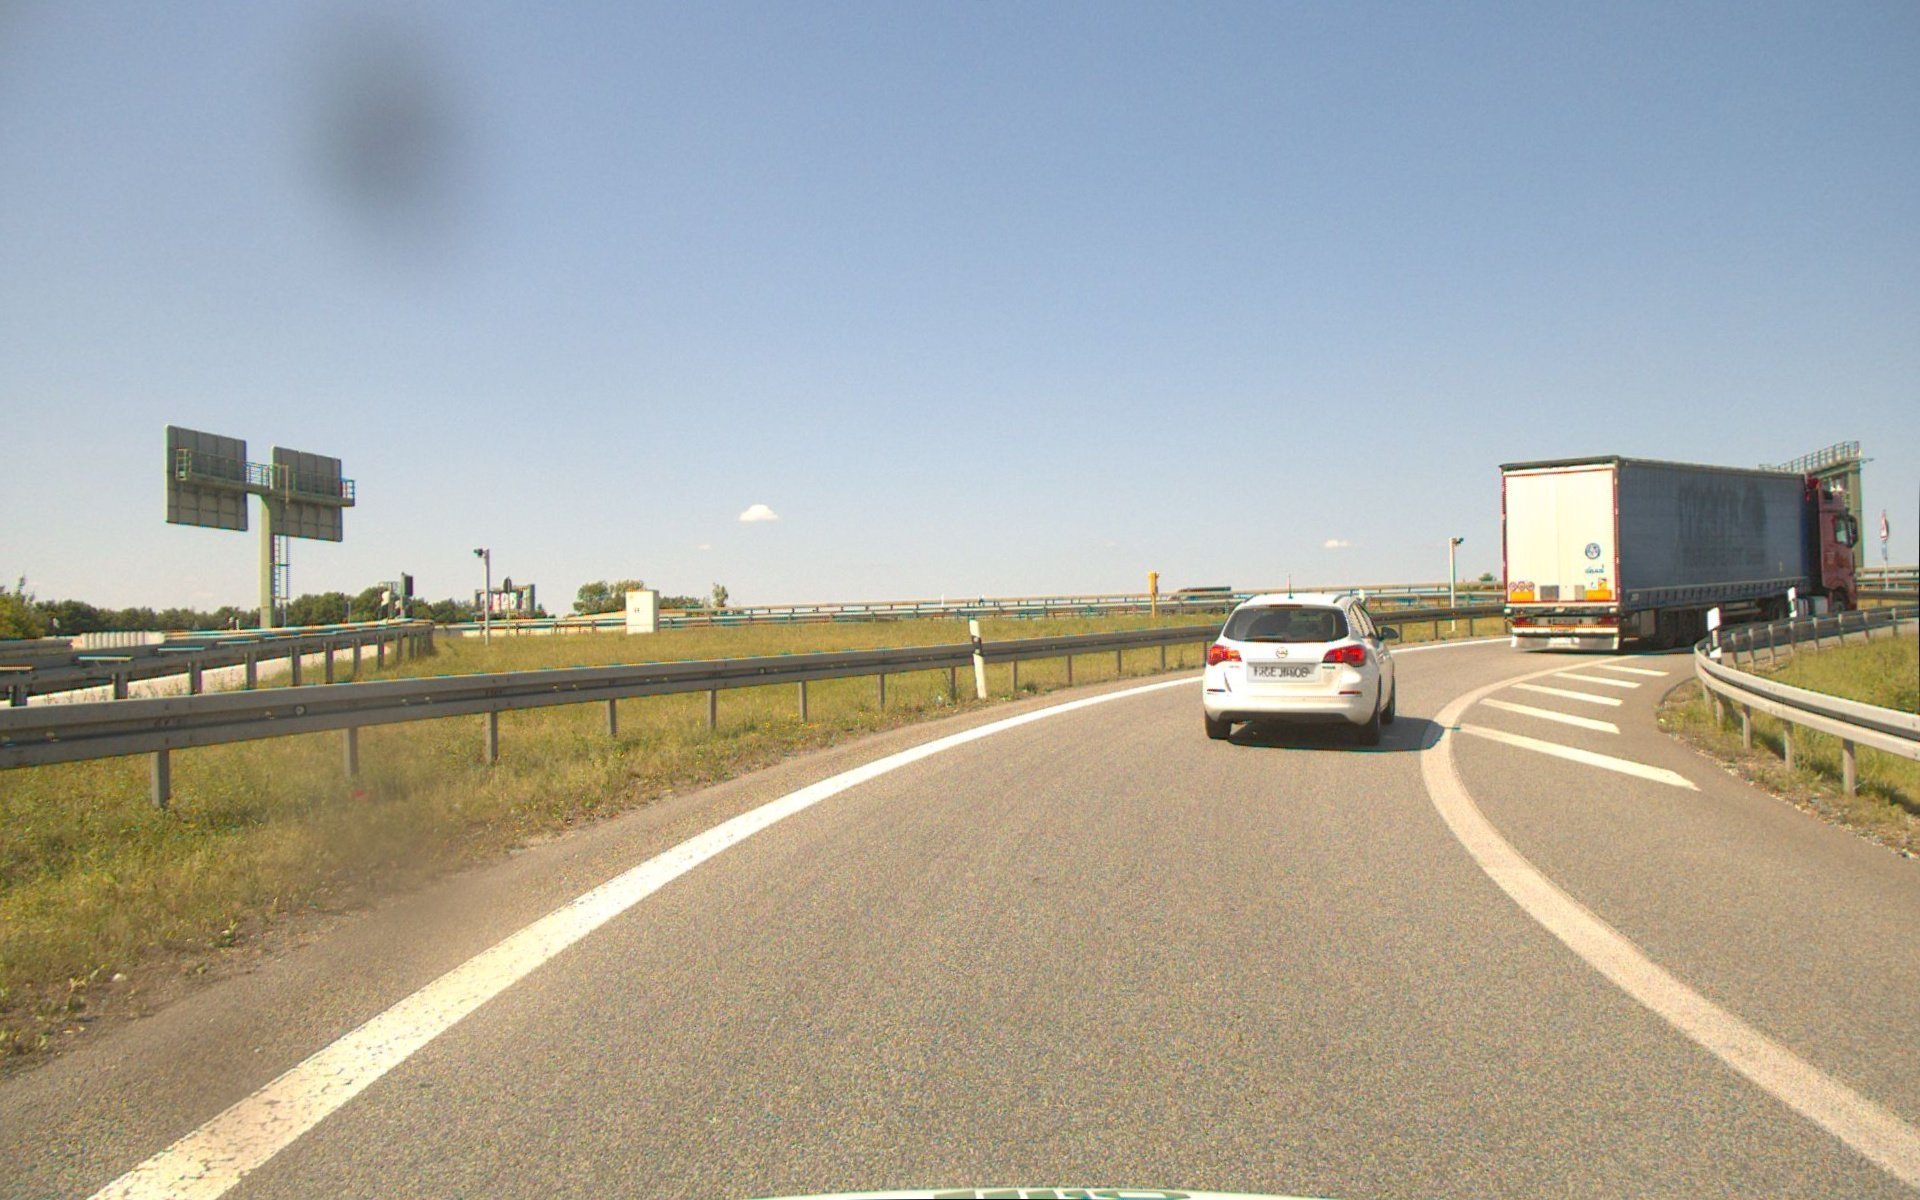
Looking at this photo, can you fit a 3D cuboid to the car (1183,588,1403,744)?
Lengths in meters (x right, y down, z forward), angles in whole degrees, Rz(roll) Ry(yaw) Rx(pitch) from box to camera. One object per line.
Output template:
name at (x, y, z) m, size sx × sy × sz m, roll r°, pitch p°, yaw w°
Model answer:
car at (3.741, 0.630, 17.996) m, size 1.815 × 1.468 × 4.374 m, roll -1°, pitch 0°, yaw 18°

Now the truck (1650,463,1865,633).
truck at (21.536, -1.331, 44.482) m, size 6.868 × 4.217 × 2.877 m, roll -1°, pitch 0°, yaw -43°

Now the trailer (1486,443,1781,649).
trailer at (16.161, -1.177, 38.978) m, size 2.870 × 4.217 × 11.191 m, roll -1°, pitch 0°, yaw 42°
